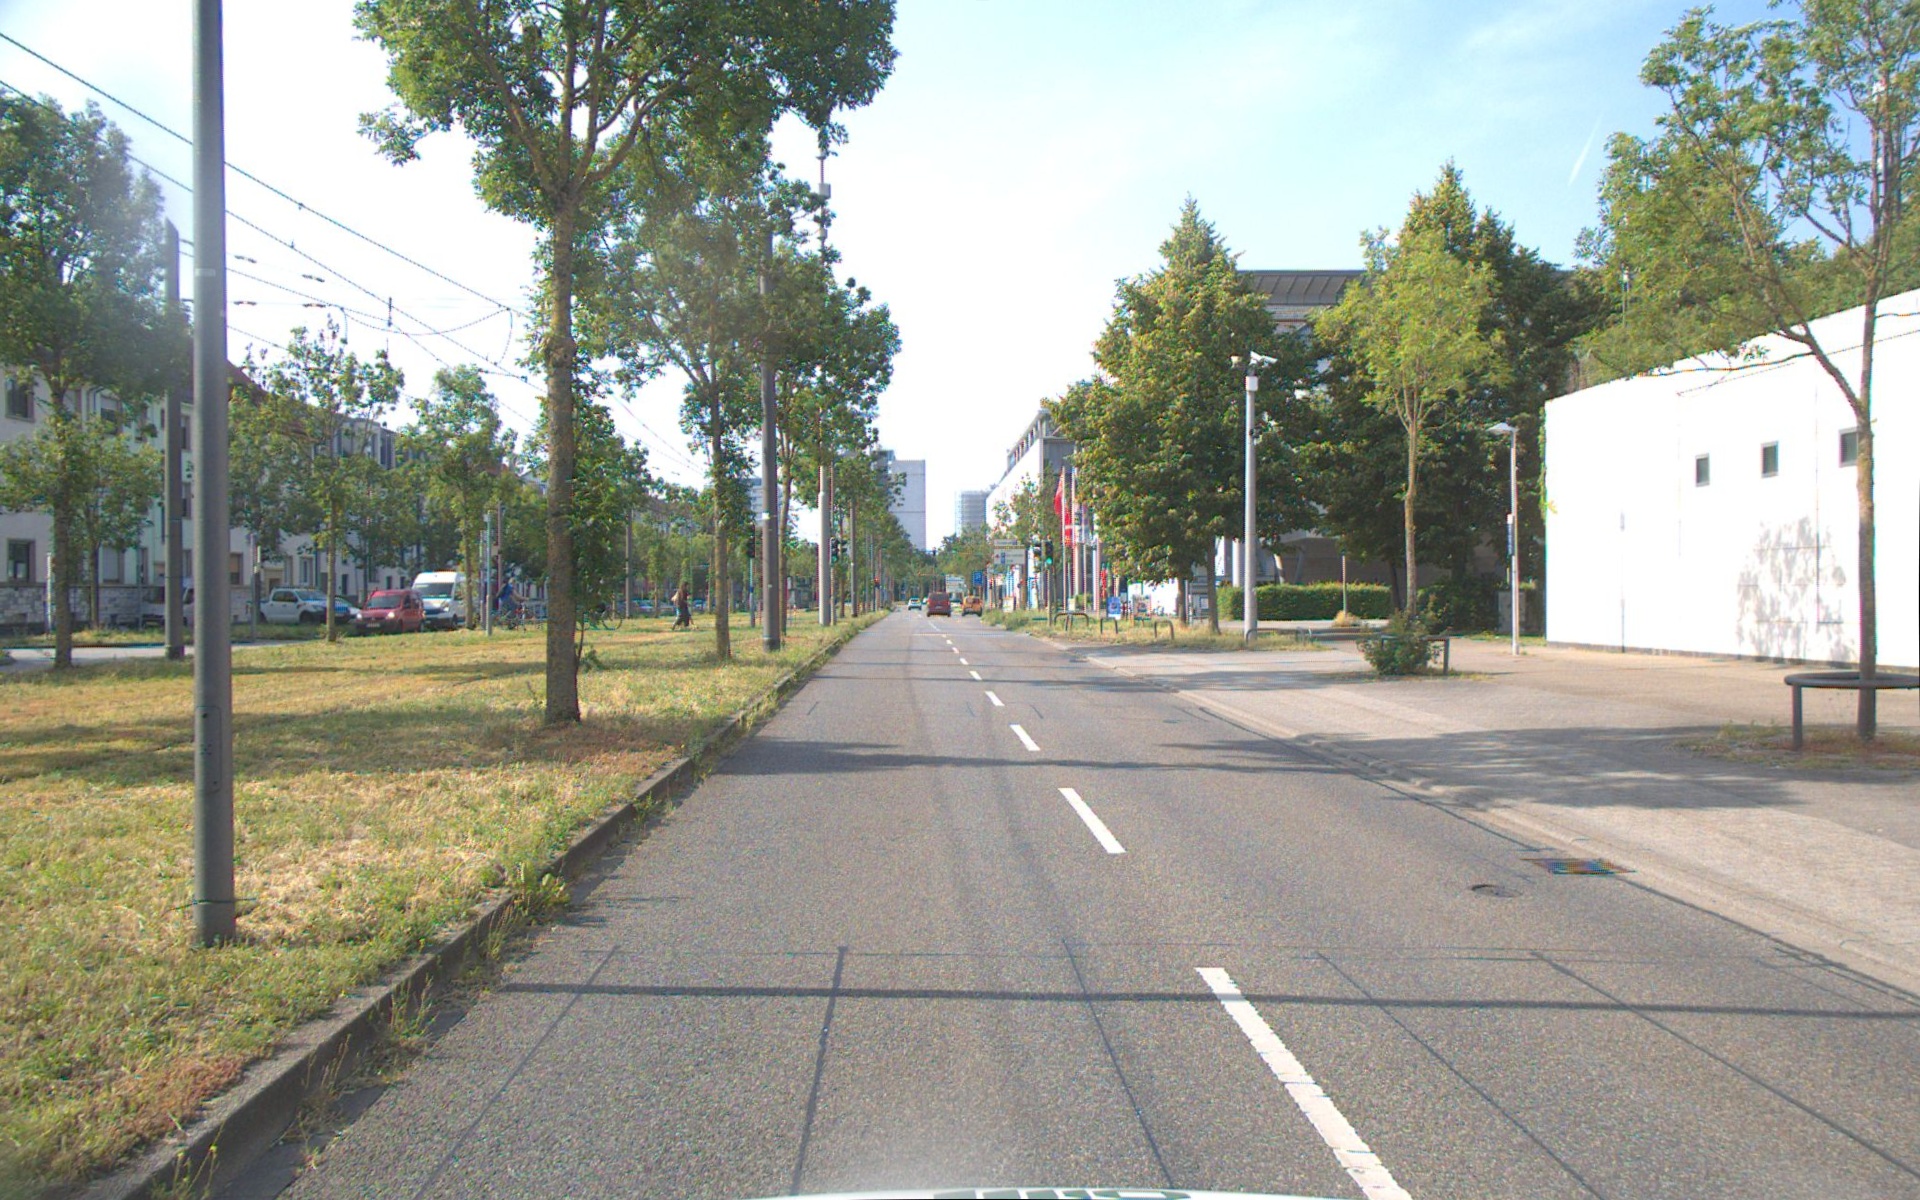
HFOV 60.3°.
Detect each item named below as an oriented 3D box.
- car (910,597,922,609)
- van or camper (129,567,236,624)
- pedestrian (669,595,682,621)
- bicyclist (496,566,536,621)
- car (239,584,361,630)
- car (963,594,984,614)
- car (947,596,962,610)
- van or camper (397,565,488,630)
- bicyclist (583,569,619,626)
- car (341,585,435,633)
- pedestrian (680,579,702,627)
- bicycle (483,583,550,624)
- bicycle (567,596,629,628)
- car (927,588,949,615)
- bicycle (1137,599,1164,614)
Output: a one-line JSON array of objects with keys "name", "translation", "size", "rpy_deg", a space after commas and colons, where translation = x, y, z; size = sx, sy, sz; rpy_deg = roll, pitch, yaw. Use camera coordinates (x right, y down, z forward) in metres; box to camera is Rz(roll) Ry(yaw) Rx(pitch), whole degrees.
[{"name": "car", "translation": [-6.230, 0.472, 234.319], "size": [1.713, 1.679, 3.215], "rpy_deg": [2, 0, -1]}, {"name": "van or camper", "translation": [-34.456, -0.204, 73.493], "size": [1.953, 2.369, 5.827], "rpy_deg": [2, 0, 0]}, {"name": "pedestrian", "translation": [-9.633, 0.270, 56.023], "size": [0.334, 0.890, 0.461], "rpy_deg": [2, 0, -1]}, {"name": "bicyclist", "translation": [-15.049, -0.220, 56.055], "size": [1.136, 1.792, 0.679], "rpy_deg": [2, 0, -32]}, {"name": "car", "translation": [-27.465, 0.291, 68.774], "size": [5.214, 1.768, 1.995], "rpy_deg": [2, 0, 32]}, {"name": "car", "translation": [1.176, 0.353, 144.157], "size": [1.713, 1.679, 3.215], "rpy_deg": [2, 0, -1]}, {"name": "car", "translation": [-0.712, 0.352, 198.230], "size": [1.713, 1.679, 3.215], "rpy_deg": [2, 0, -1]}, {"name": "van or camper", "translation": [-21.897, -0.118, 70.285], "size": [2.159, 2.575, 6.027], "rpy_deg": [2, 0, -3]}, {"name": "bicyclist", "translation": [-12.618, -0.087, 58.133], "size": [1.129, 1.968, 0.682], "rpy_deg": [2, 0, -19]}, {"name": "car", "translation": [-21.855, 0.348, 63.341], "size": [1.924, 1.723, 4.298], "rpy_deg": [2, 0, 2]}, {"name": "pedestrian", "translation": [-9.109, 0.094, 56.073], "size": [0.612, 1.599, 0.711], "rpy_deg": [2, 0, -1]}, {"name": "bicycle", "translation": [-15.032, 0.121, 56.081], "size": [2.049, 1.347, 0.774], "rpy_deg": [2, 0, -35]}, {"name": "bicycle", "translation": [-12.713, 0.415, 58.021], "size": [2.036, 1.060, 0.664], "rpy_deg": [2, 0, -21]}, {"name": "car", "translation": [-1.733, 0.100, 129.901], "size": [1.713, 2.049, 3.215], "rpy_deg": [2, 0, -1]}, {"name": "bicycle", "translation": [12.130, 0.439, 105.441], "size": [1.589, 0.903, 0.550], "rpy_deg": [2, 0, -3]}]
